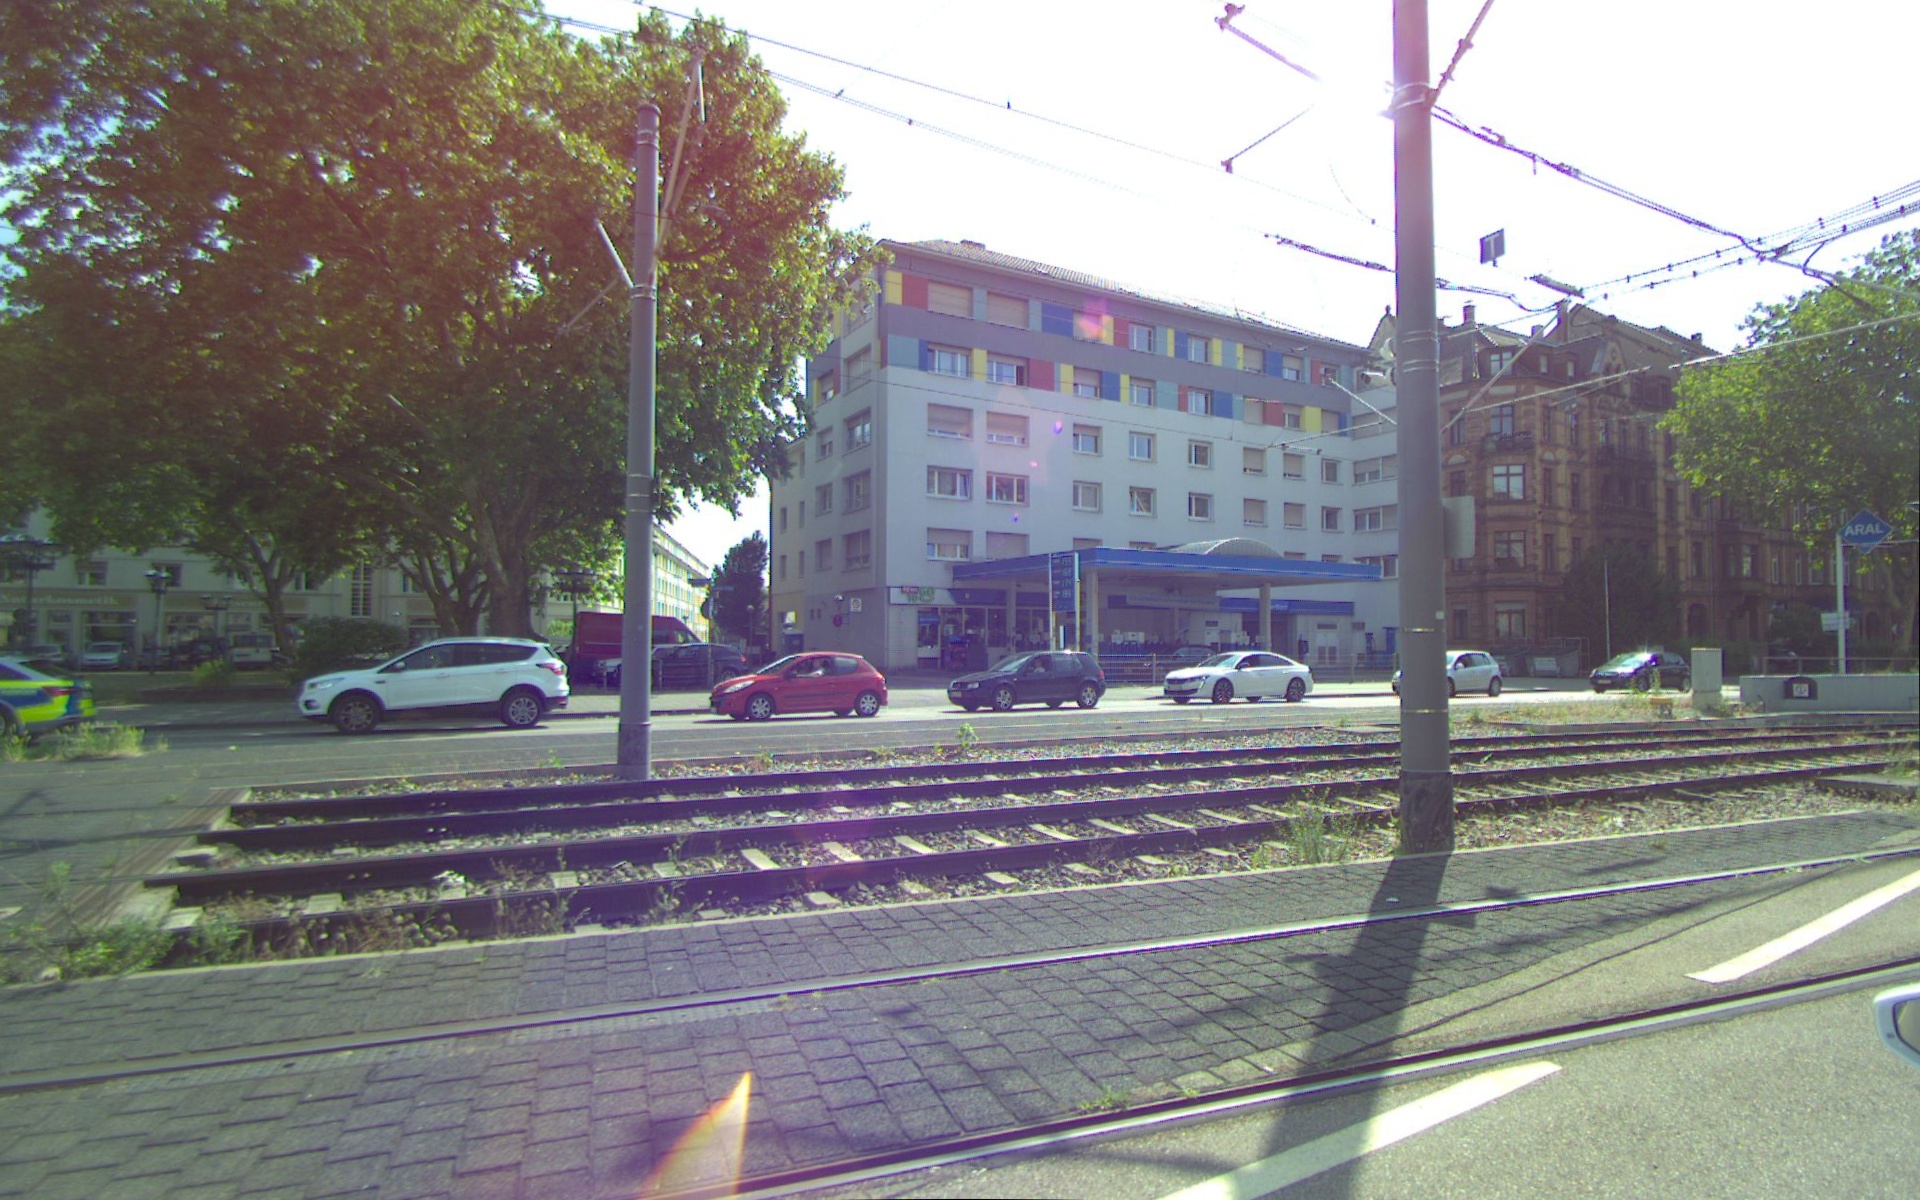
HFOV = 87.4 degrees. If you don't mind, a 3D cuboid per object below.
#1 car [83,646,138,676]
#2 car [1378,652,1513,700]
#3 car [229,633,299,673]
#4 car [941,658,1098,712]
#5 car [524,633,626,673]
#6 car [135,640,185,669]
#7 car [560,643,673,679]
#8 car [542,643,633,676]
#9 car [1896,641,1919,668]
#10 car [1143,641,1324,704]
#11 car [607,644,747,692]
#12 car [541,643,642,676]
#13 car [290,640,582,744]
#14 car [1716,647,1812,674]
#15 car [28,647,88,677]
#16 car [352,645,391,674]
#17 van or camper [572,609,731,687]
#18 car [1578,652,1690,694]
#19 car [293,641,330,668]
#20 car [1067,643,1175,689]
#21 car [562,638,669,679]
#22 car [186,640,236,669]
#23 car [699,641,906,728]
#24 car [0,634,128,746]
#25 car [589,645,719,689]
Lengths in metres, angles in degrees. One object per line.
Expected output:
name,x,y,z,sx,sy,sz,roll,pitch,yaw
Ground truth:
car,-50.557,3.614,59.821,1.831,1.681,4.049,2,-3,-31
car,15.814,2.435,32.709,4.350,1.435,1.715,1,-3,-28
car,-37.882,2.911,54.757,2.222,2.039,3.916,1,-5,-22
car,1.480,2.049,24.754,3.588,1.204,1.610,1,-2,-28
car,-19.625,2.705,51.226,4.628,1.959,1.985,1,-5,-31
car,-48.569,3.296,61.025,1.831,1.681,4.049,2,-3,-31
car,-13.287,2.370,38.898,3.954,1.310,1.467,1,-5,-31
car,-18.230,2.901,49.149,3.954,1.539,1.651,1,-5,-31
car,70.690,3.961,72.349,1.977,1.943,4.381,2,-3,-30
car,7.727,1.984,28.247,5.016,1.628,1.938,1,-3,-30
car,-8.934,2.104,31.762,3.954,1.429,1.744,1,-3,-31
car,-16.276,2.610,44.377,3.954,1.381,1.754,1,-5,-31
car,-9.639,1.618,18.753,4.623,1.628,1.752,0,-2,-30
car,47.332,3.542,59.224,1.974,1.502,3.974,2,-3,-27
car,-52.886,3.593,58.952,1.831,1.681,4.049,2,-3,-31
car,-33.395,3.324,56.955,1.831,1.553,4.049,2,-3,-31
van or camper,-11.276,1.780,36.824,5.282,2.675,2.095,1,-5,-28
car,24.538,2.611,36.567,3.730,1.435,1.664,1,-2,-24
car,-42.096,3.496,65.253,1.831,1.681,4.049,2,-3,-31
car,6.331,2.546,39.413,3.828,1.628,1.894,0,-2,-30
car,-14.188,2.407,41.452,3.954,1.625,1.519,1,-4,-31
car,-46.478,3.360,62.383,2.059,1.681,4.049,2,-3,-31
car,-3.386,1.755,21.732,4.094,1.628,1.705,0,-2,-30
car,-16.057,1.375,15.152,5.091,1.673,1.859,1,-4,-30
car,-10.354,2.245,34.069,3.954,1.429,1.744,1,-3,-31
